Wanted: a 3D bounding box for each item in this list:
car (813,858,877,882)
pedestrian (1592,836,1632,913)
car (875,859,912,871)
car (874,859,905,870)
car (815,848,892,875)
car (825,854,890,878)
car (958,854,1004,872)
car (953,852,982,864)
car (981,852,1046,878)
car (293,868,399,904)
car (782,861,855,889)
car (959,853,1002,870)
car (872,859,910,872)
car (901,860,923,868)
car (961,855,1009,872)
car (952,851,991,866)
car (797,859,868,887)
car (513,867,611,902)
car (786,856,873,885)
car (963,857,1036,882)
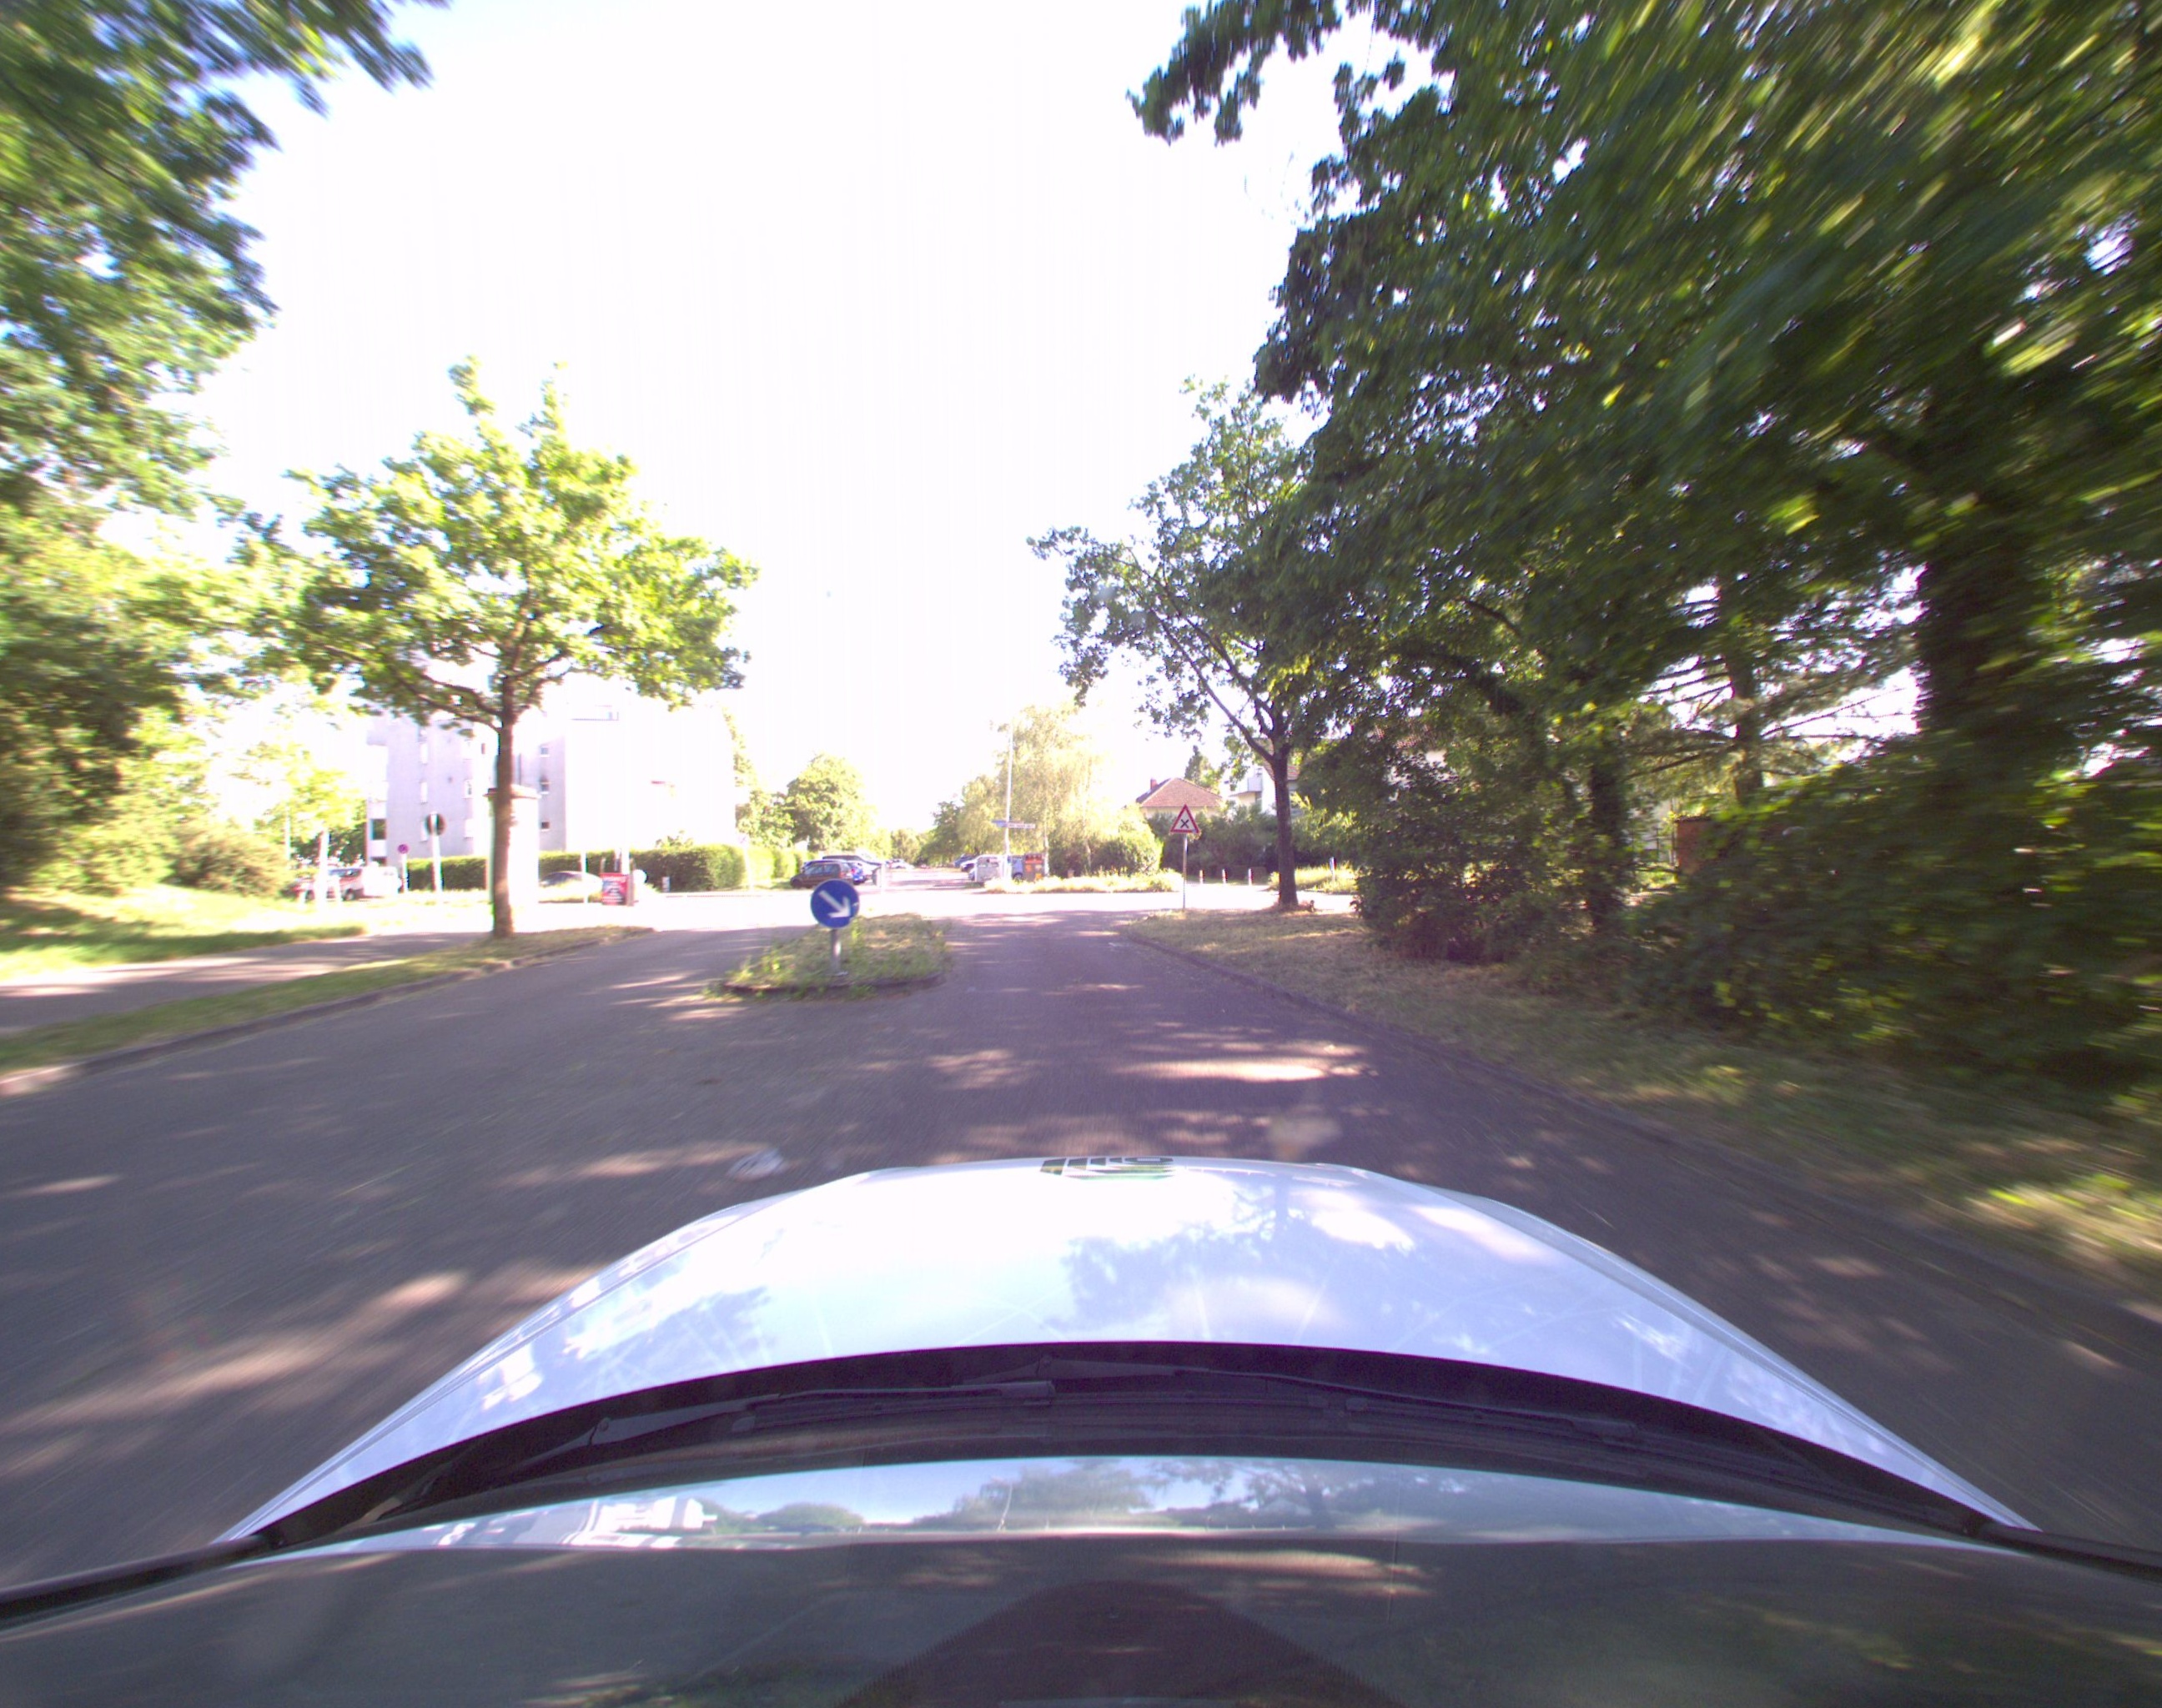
[{"bbox_3d":[-16.397,1.101,56.774,4.147,1.455,1.612,-2,0,-13],"label":"car"},{"bbox_3d":[10.991,0.417,16.862,0.397,1.561,0.533,-1,-1,-31],"label":"pedestrian"},{"bbox_3d":[-21.272,1.242,92.400,3.941,1.334,1.840,-1,0,-11],"label":"car"},{"bbox_3d":[-25.719,1.415,109.557,3.941,1.334,1.840,-1,0,-11],"label":"car"},{"bbox_3d":[-19.833,0.664,71.280,6.261,2.147,2.401,-1,0,-12],"label":"car"},{"bbox_3d":[-17.170,0.910,62.789,4.515,1.771,1.844,-1,0,-5],"label":"car"},{"bbox_3d":[-8.812,0.804,71.910,3.983,1.585,1.793,-1,-1,-7],"label":"car"},{"bbox_3d":[-15.979,0.545,114.422,3.983,1.708,1.793,-1,-1,-7],"label":"car"},{"bbox_3d":[-4.479,0.689,53.848,4.060,1.603,1.782,-1,1,-16],"label":"car"},{"bbox_3d":[-42.047,1.828,46.629,4.902,1.912,2.007,-2,-1,13],"label":"car"},{"bbox_3d":[-14.916,1.179,46.413,3.503,1.466,1.707,-1,0,6],"label":"car"},{"bbox_3d":[-9.629,0.726,78.095,3.983,1.585,1.793,-1,-1,-7],"label":"car"},{"bbox_3d":[-20.842,1.240,89.662,3.941,1.334,1.840,-1,0,-11],"label":"car"},{"bbox_3d":[-28.746,1.737,138.485,3.646,1.212,1.840,-1,0,-11],"label":"car"},{"bbox_3d":[-8.109,0.830,69.088,3.983,1.401,1.793,-1,-1,-7],"label":"car"},{"bbox_3d":[-11.583,0.484,86.293,3.983,1.585,1.793,-1,-1,-7],"label":"car"},{"bbox_3d":[-14.914,1.154,49.011,3.665,1.496,1.652,-2,0,3],"label":"car"},{"bbox_3d":[-26.830,1.552,42.154,4.036,1.643,1.889,-2,-1,11],"label":"car"},{"bbox_3d":[-16.235,1.068,52.754,4.983,1.654,1.781,-2,0,-5],"label":"car"},{"bbox_3d":[-4.783,0.905,48.181,4.036,1.439,1.636,0,0,3],"label":"car"}]
